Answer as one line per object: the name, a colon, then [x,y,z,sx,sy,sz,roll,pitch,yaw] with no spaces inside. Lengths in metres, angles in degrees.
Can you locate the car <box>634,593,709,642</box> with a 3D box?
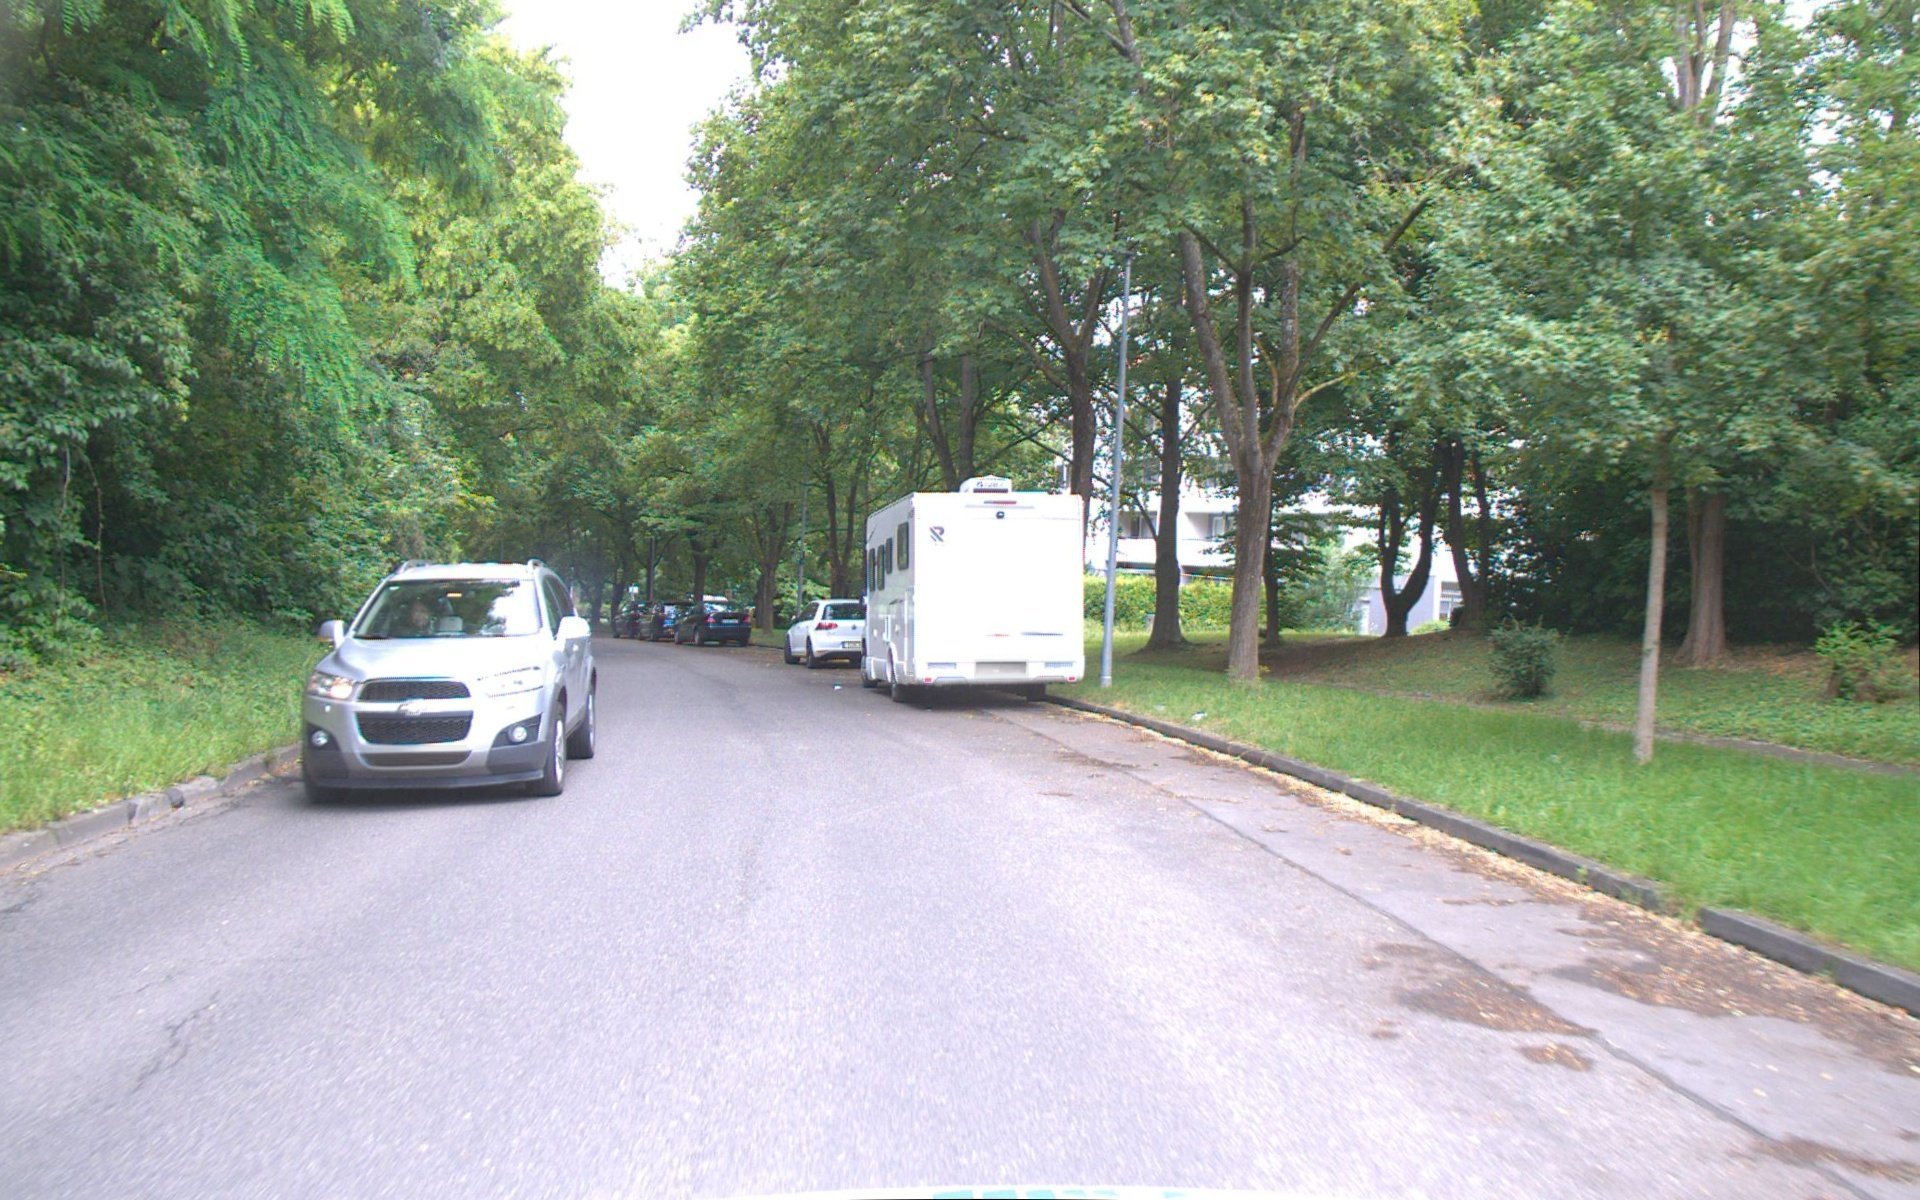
car: [-10.284,0.607,58.754,1.885,1.640,4.708,1,0,-19]

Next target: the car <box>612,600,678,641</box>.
car: [-12.224,0.773,64.044,1.660,1.490,3.867,1,0,-25]

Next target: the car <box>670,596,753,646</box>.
car: [-7.980,0.656,52.889,1.568,1.491,4.284,1,0,-24]

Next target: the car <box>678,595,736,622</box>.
car: [-20.280,0.677,132.673,4.155,2.049,1.983,1,0,-27]

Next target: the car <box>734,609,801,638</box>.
car: [-13.479,1.648,115.712,4.336,1.881,1.820,2,0,-23]

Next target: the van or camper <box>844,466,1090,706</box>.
van or camper: [-0.150,-0.161,24.882,2.380,3.032,7.375,1,0,-10]

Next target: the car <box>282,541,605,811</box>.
car: [-3.941,0.511,13.330,1.787,1.758,4.303,-2,0,-9]

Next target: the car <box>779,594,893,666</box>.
car: [-2.804,0.636,36.698,1.662,1.508,4.087,1,0,-17]

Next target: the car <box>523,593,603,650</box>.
car: [-11.282,0.603,47.165,1.760,1.534,3.993,1,0,-7]
